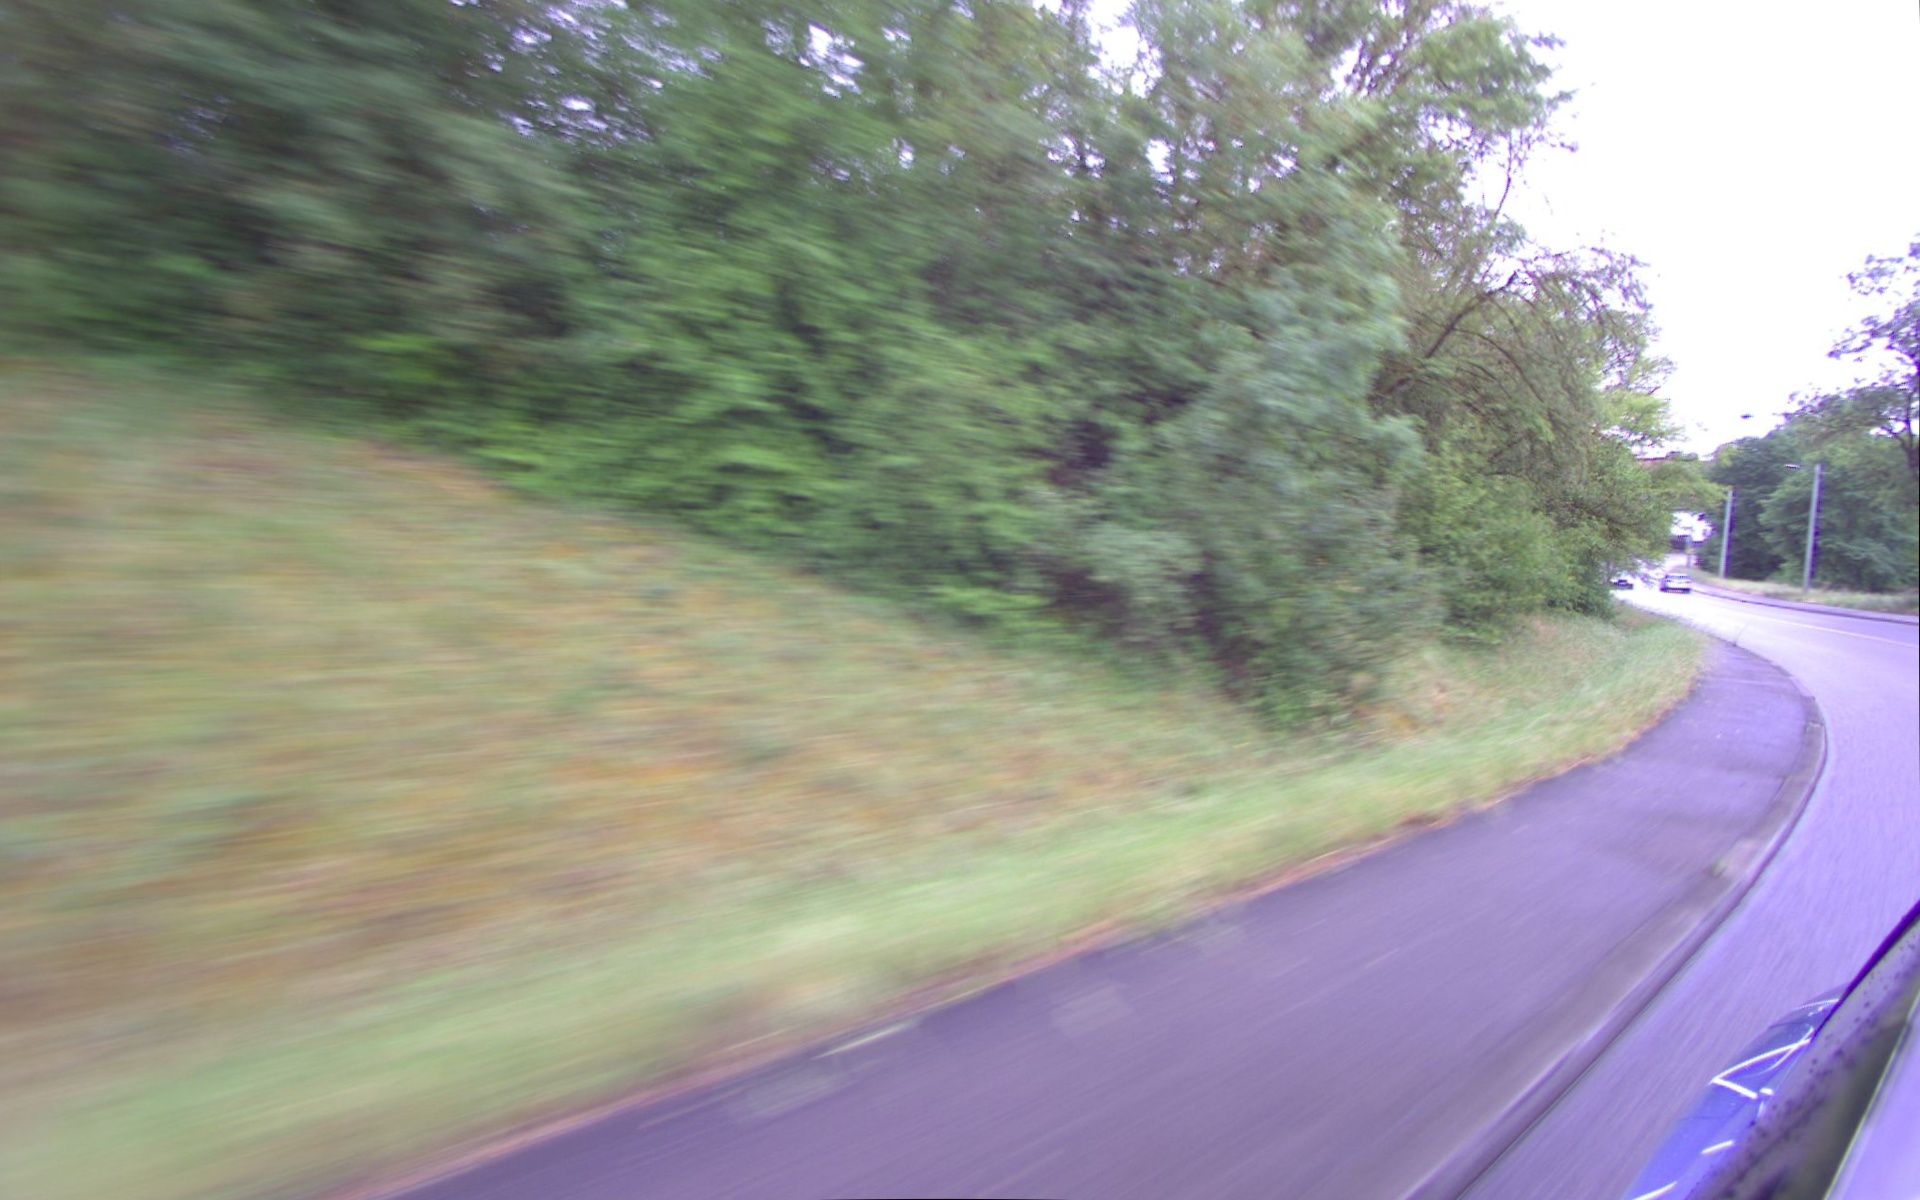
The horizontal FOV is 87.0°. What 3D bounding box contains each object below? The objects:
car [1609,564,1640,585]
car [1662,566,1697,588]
[{"bbox_3d":[55.338,-2.098,84.301,1.805,1.640,3.958,3,2,30],"label":"car"},{"bbox_3d":[57.315,-1.860,80.656,1.805,1.640,3.958,3,2,30],"label":"car"}]
